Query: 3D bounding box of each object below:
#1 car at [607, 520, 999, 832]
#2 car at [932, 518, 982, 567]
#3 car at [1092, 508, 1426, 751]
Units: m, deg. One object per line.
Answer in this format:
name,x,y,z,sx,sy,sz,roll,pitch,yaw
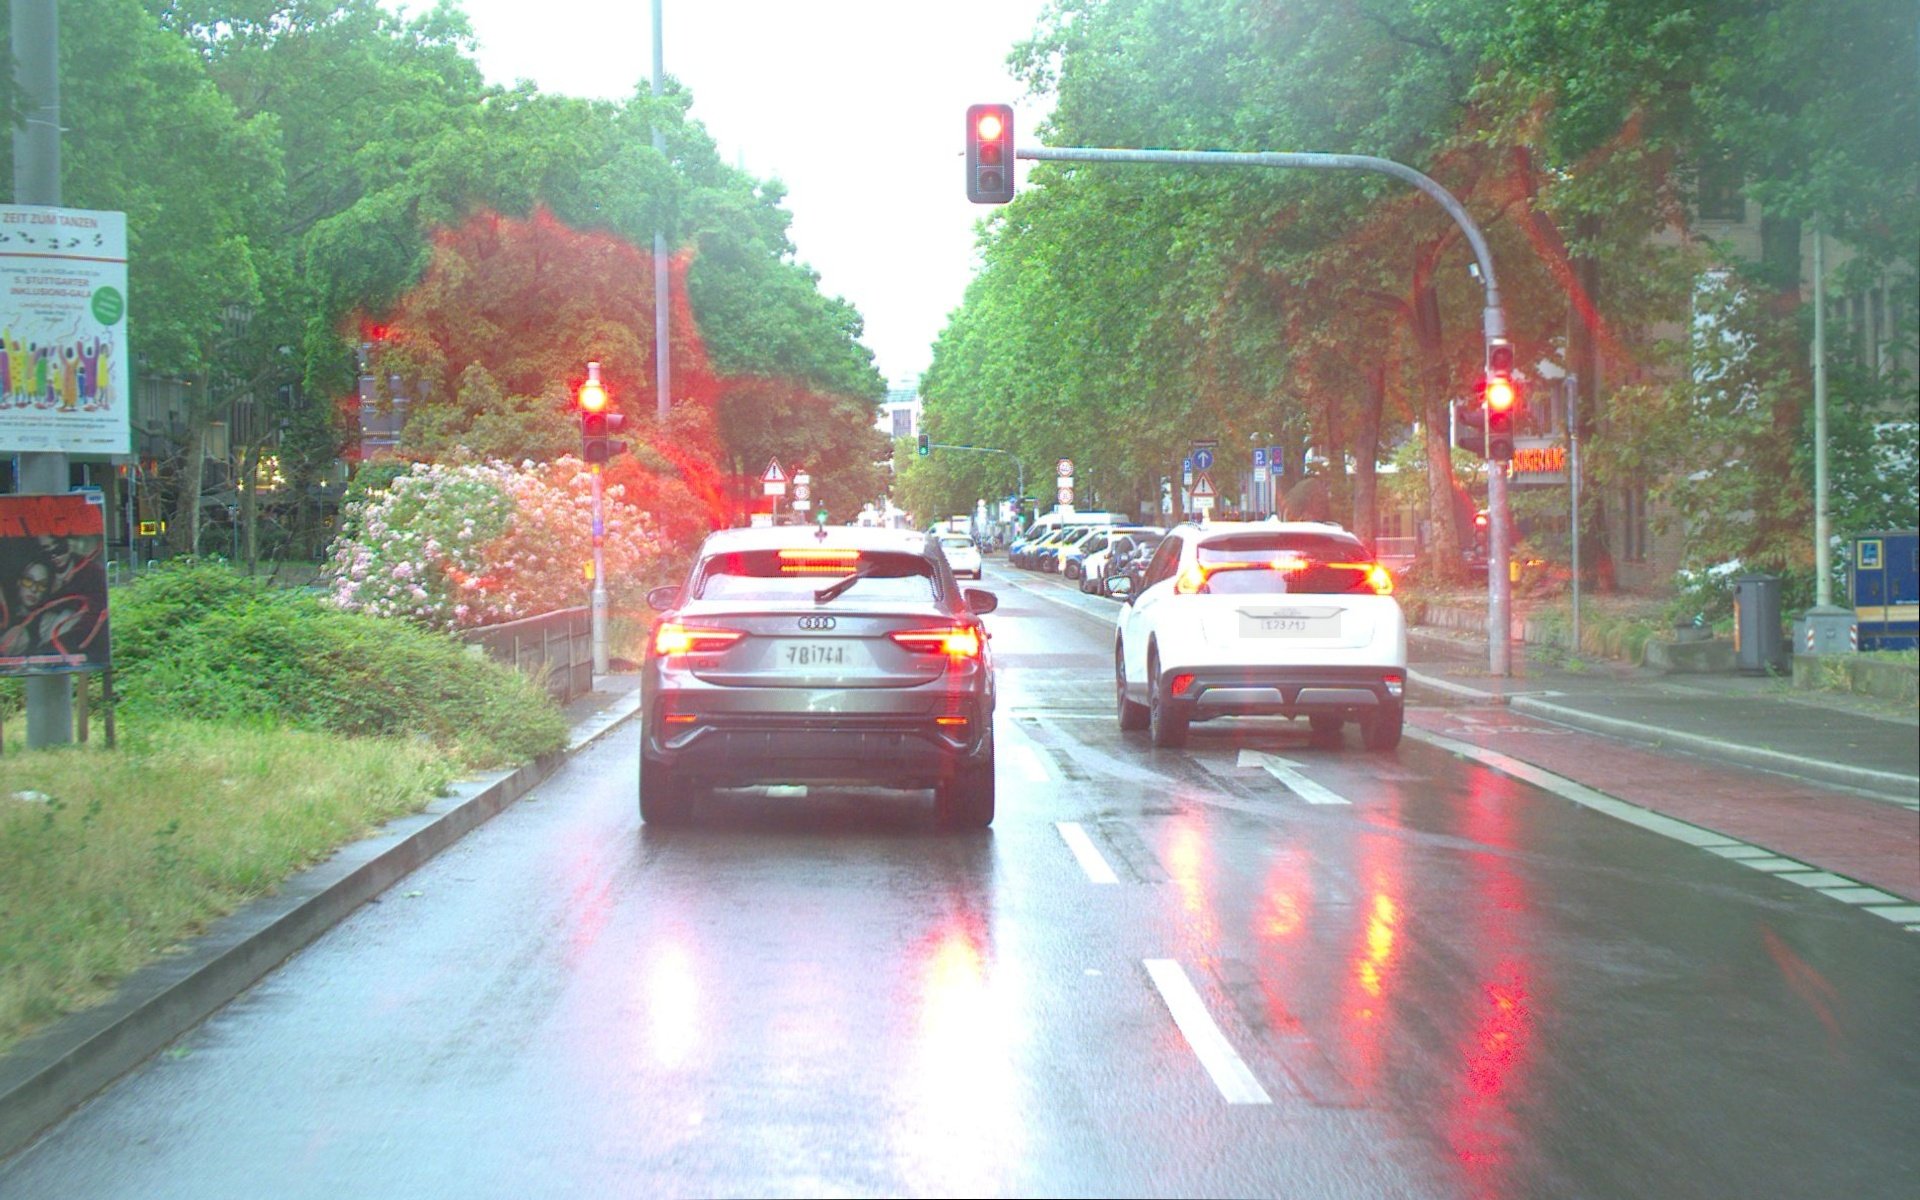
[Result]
car,-0.824,0.329,18.881,1.918,1.486,4.001,0,2,-2
car,-0.120,-2.032,120.823,1.620,1.660,4.001,-1,2,-1
car,2.173,0.143,26.307,1.993,1.649,4.889,0,2,-2
